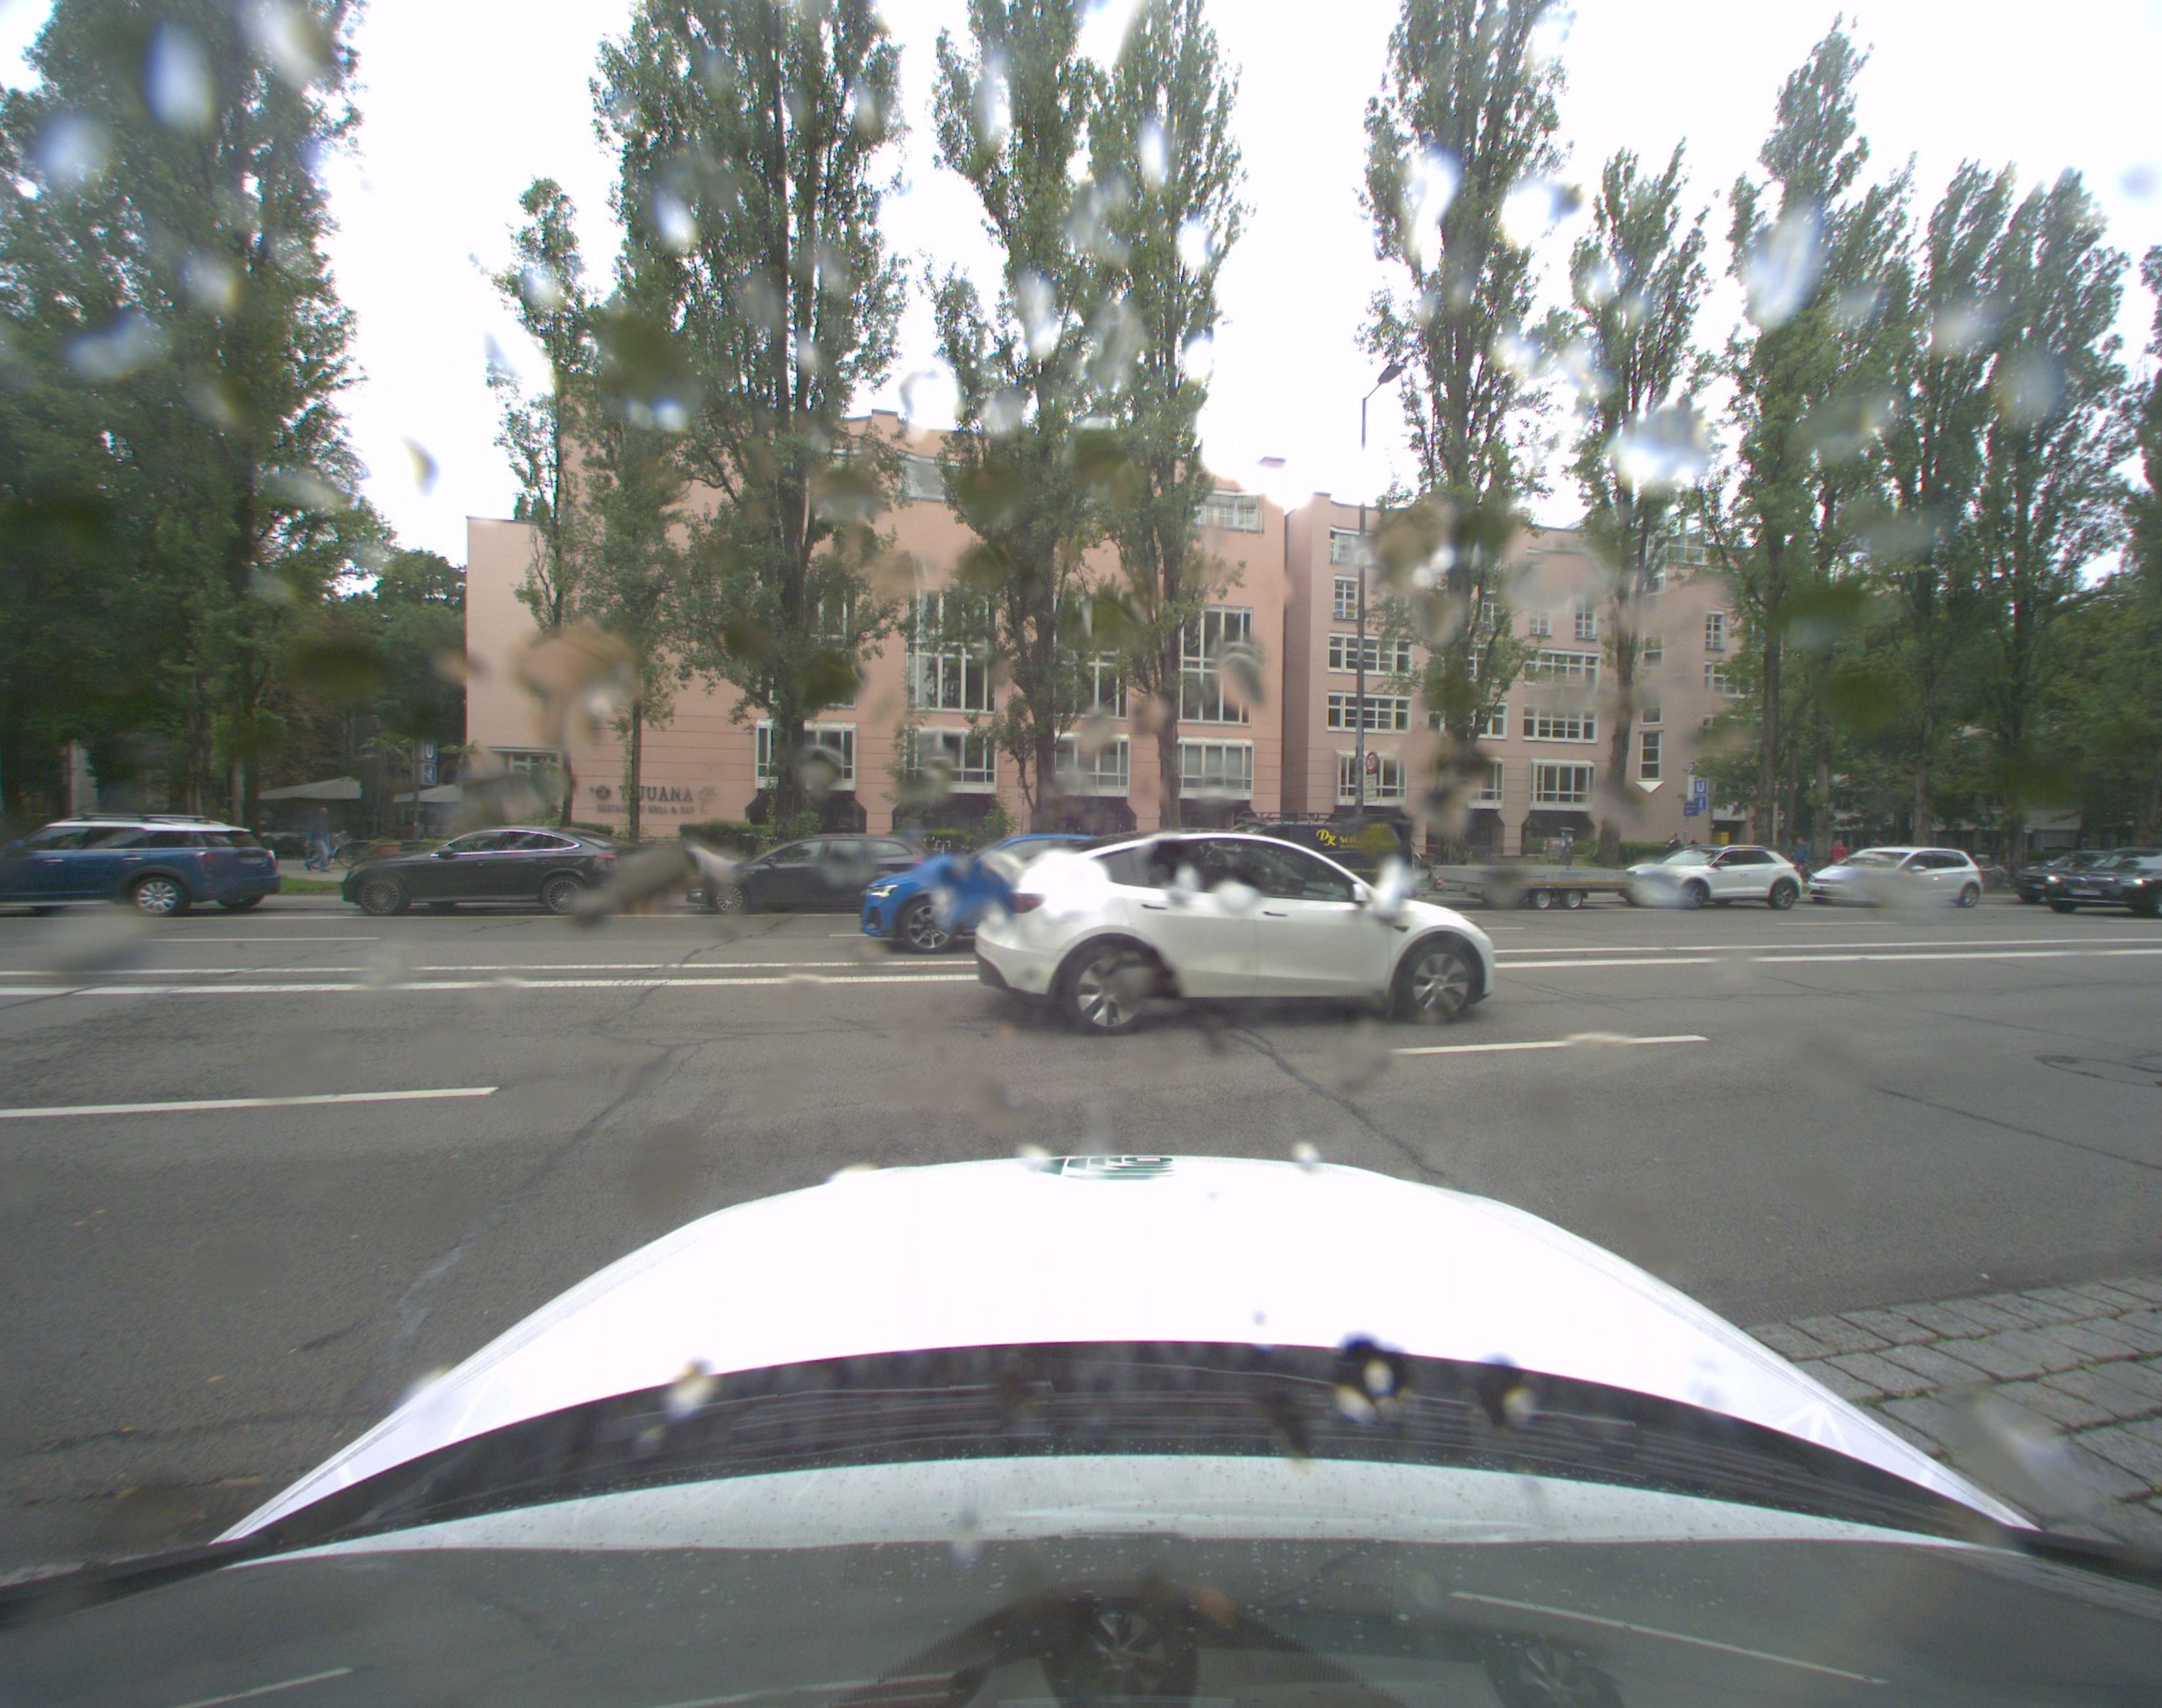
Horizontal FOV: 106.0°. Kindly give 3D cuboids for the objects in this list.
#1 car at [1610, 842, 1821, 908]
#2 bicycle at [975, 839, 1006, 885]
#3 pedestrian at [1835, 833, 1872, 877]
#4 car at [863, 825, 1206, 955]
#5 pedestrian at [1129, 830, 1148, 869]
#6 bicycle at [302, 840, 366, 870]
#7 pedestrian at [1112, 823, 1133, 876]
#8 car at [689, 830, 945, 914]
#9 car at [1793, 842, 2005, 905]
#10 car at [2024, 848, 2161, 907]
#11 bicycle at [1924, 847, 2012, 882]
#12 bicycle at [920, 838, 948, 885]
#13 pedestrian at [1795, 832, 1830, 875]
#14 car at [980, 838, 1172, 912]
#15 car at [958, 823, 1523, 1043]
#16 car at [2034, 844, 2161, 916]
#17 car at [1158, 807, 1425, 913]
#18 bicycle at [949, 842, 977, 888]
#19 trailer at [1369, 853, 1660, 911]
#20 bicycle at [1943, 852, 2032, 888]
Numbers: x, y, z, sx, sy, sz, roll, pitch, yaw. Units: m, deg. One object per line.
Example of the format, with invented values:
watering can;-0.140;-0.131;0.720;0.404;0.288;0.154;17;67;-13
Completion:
car;15.719;0.478;20.274;4.220;1.542;1.800;0;0;-10
bicycle;-2.372;0.187;21.223;0.674;1.124;1.723;0;2;-10
pedestrian;30.347;0.031;32.002;0.729;1.713;0.707;1;1;-11
car;-0.685;0.447;11.288;4.413;1.579;1.863;0;0;-13
pedestrian;2.522;-0.208;35.712;0.706;1.713;0.730;1;1;-8
bicycle;-22.500;0.022;24.553;0.526;0.855;1.369;1;2;13
pedestrian;1.343;-0.154;26.348;0.557;1.663;0.619;1;1;-7
car;-5.065;0.321;16.222;4.611;1.528;1.787;0;2;-12
car;21.863;0.476;21.846;4.313;1.541;1.992;0;2;-12
car;29.760;0.633;23.125;4.311;1.541;1.993;0;2;-11
bicycle;30.485;0.341;28.022;0.674;1.124;1.982;0;2;-10
bicycle;-3.783;0.178;20.933;0.674;1.124;1.736;0;2;-10
pedestrian;29.231;-0.024;32.560;0.729;1.713;0.707;1;1;-11
car;-0.172;0.414;17.241;3.859;1.448;1.673;0;2;-9
car;1.270;0.553;7.401;4.626;1.575;1.993;0;3;-12
car;26.428;0.576;19.988;4.538;1.642;1.993;0;1;-11
car;4.669;0.104;18.343;5.482;2.196;2.016;0;2;-12
bicycle;-3.068;0.262;21.075;0.674;1.124;1.736;0;2;-10
trailer;10.298;0.632;19.545;6.020;1.199;2.396;0;2;-11
bicycle;31.282;0.527;28.160;0.674;1.124;1.982;0;2;-10
